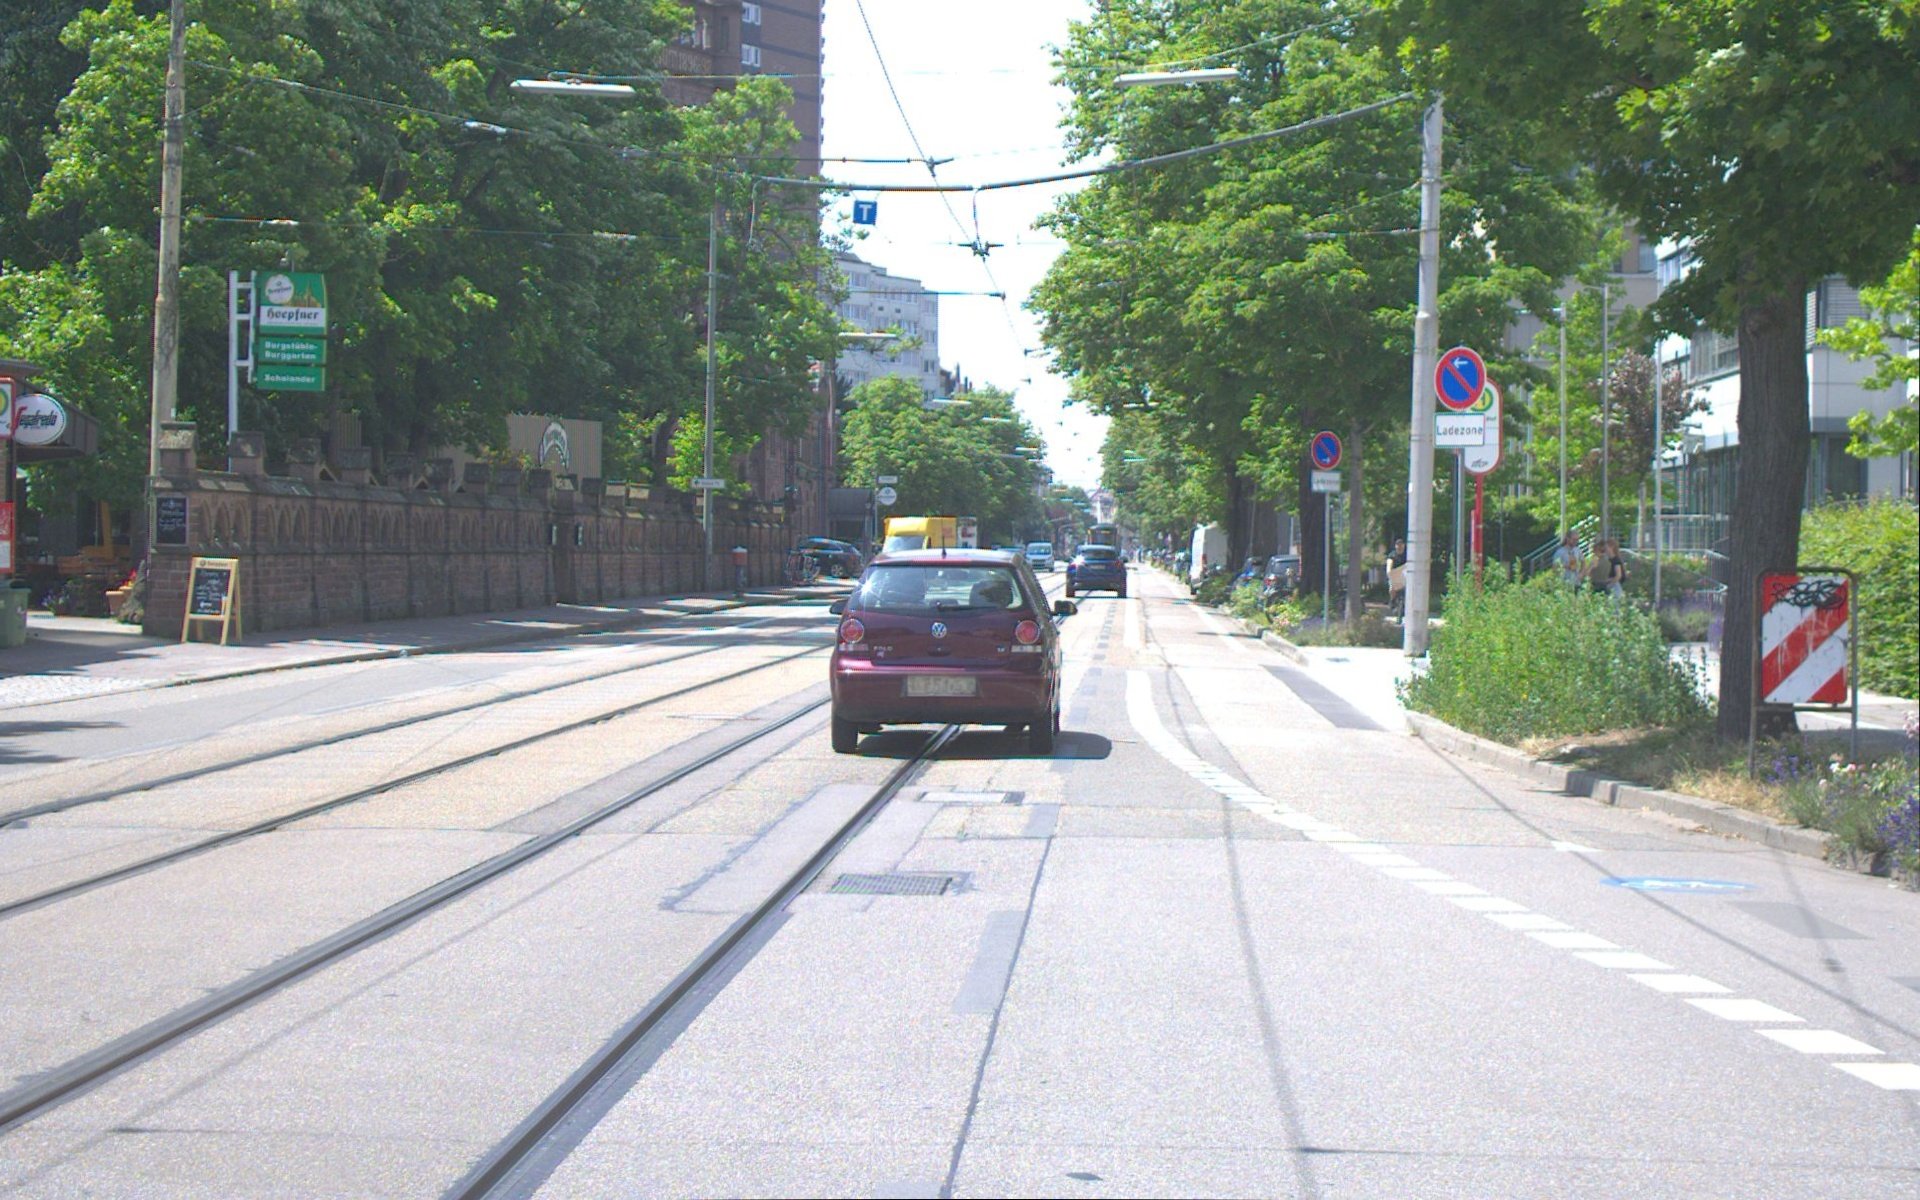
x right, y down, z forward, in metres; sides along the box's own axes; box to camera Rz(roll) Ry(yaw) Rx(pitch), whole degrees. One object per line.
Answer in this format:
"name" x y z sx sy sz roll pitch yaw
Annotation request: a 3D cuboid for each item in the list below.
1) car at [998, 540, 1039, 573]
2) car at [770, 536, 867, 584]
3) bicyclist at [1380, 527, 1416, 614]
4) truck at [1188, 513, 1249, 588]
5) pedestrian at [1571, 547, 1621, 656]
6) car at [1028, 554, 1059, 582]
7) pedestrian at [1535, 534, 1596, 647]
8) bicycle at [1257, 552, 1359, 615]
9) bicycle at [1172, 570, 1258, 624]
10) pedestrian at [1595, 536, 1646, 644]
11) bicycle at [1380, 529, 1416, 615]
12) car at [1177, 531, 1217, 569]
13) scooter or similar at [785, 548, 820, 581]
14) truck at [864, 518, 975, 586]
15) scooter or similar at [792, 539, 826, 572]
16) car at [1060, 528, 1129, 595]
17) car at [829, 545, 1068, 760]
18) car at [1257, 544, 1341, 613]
"car" 2.809 -2.082 164.569 1.771 1.510 4.000 1 1 3
"car" -6.230 -1.762 151.484 3.988 2.007 1.999 1 1 7
"bicyclist" 9.156 -0.611 71.887 0.696 1.793 0.887 -1 0 6
"truck" 9.542 -1.829 127.185 1.994 2.652 4.875 2 1 3
"pedestrian" 10.033 0.022 54.247 0.537 1.709 0.566 -1 0 -26
"car" 5.669 -2.162 232.618 1.994 1.848 4.682 1 1 3
"pedestrian" 9.713 -0.161 55.163 0.677 1.790 0.675 -1 1 -28
"bicycle" 6.598 -0.319 65.265 1.883 1.178 0.694 0 0 3
"bicycle" 5.250 -0.057 70.903 1.751 1.081 0.548 1 1 3
"pedestrian" 10.509 -0.159 54.706 0.537 1.709 0.566 -1 0 -26
"bicycle" 9.153 -0.578 71.867 0.690 1.779 1.810 -1 0 6
"car" 10.965 -2.315 159.194 1.674 1.651 4.000 2 1 3
"scooter or similar" -5.572 -1.258 121.759 1.088 1.151 0.527 2 1 -18
"truck" -1.668 -2.037 145.837 2.372 2.777 7.313 1 1 18
"scooter or similar" -5.468 -1.606 124.421 1.088 1.151 0.527 2 1 -18
"car" 4.248 -1.247 109.119 1.993 2.007 4.000 2 1 1
"car" -0.022 0.334 26.019 1.619 1.481 4.000 1 1 2
"car" 7.609 -0.503 77.501 1.688 1.498 3.627 -1 1 3
